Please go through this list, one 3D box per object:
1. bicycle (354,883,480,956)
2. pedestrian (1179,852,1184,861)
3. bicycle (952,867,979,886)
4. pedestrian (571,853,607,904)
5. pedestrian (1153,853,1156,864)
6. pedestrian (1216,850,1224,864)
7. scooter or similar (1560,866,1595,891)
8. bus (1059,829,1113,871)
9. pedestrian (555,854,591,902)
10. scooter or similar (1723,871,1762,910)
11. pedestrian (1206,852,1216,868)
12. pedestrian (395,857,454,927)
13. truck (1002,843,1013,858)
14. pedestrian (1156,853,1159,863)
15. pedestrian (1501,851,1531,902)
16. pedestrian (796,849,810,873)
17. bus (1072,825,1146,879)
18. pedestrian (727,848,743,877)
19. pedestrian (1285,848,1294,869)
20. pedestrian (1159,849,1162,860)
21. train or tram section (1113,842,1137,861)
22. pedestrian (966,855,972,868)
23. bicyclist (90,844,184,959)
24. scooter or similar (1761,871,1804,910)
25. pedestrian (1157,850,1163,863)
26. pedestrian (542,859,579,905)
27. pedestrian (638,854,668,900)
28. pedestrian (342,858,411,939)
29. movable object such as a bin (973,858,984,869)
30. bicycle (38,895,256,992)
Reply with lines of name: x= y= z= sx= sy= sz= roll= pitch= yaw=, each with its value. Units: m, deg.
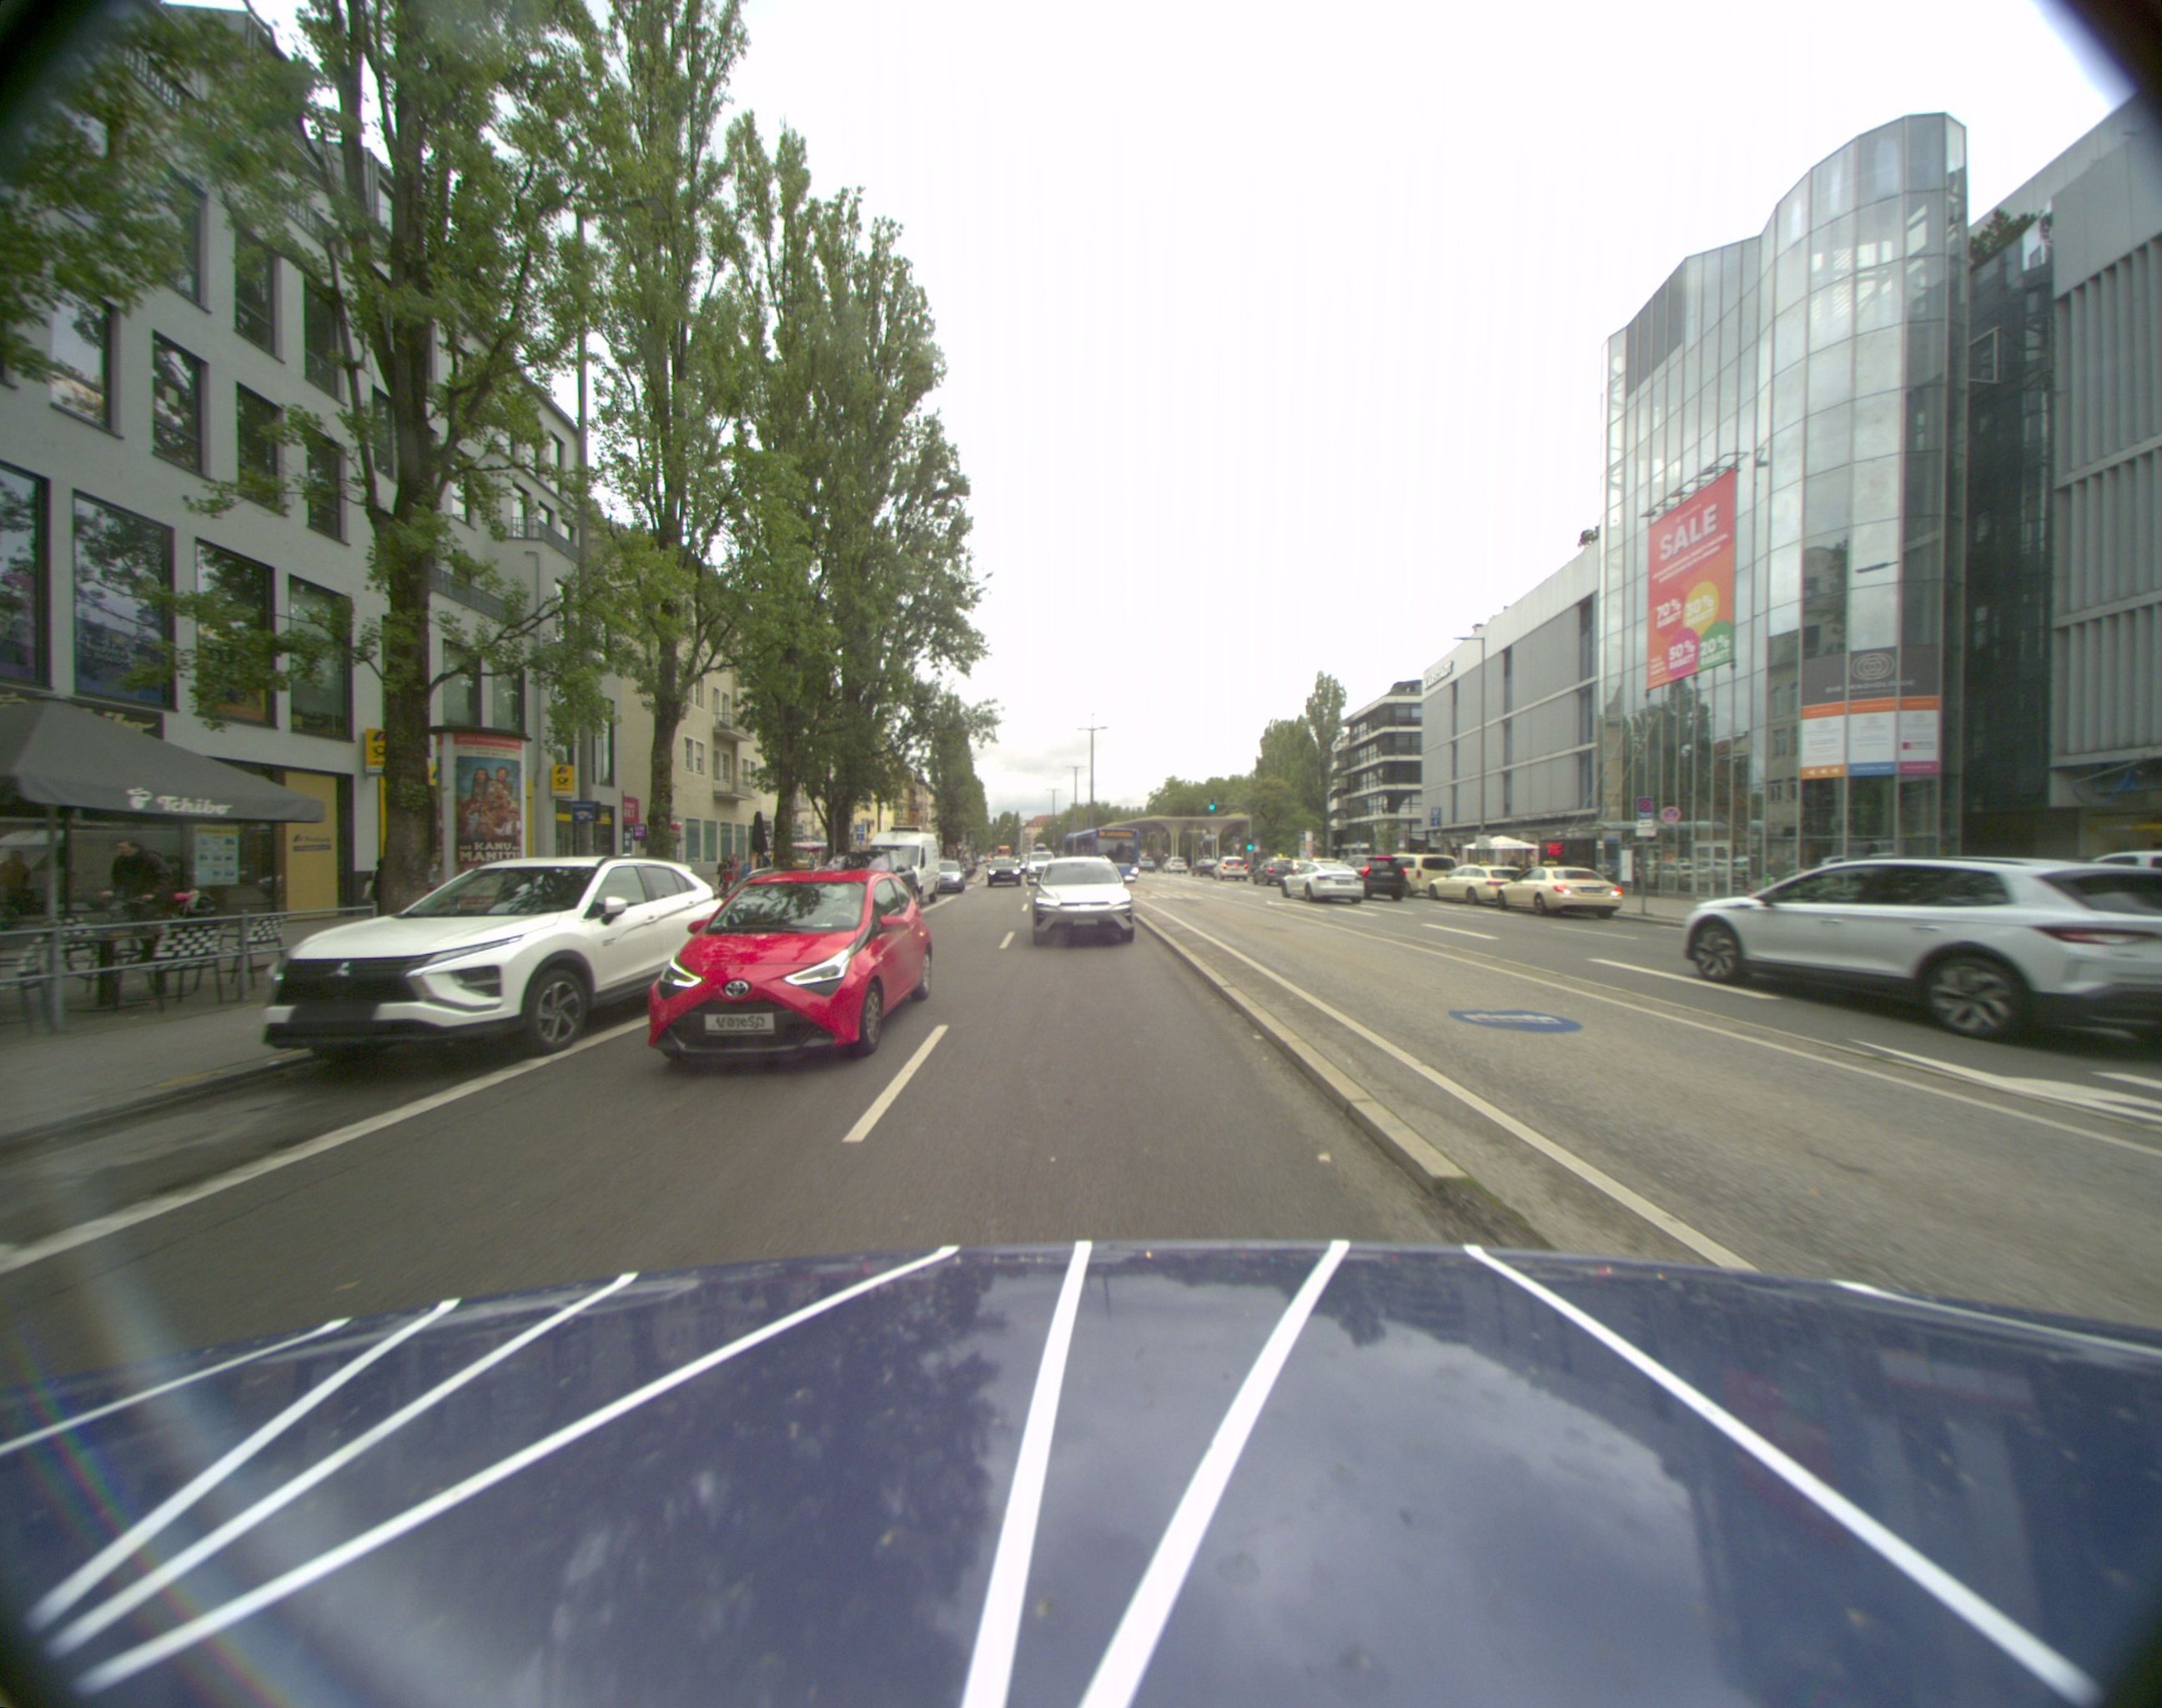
bicycle: x=-11.330 y=1.091 z=12.996 sx=1.511 sy=1.133 sz=0.895 roll=1 pitch=1 yaw=13
pedestrian: x=14.322 y=0.326 z=108.296 sx=0.549 sy=1.330 sz=0.591 roll=0 pitch=1 yaw=-6
bicycle: x=-6.863 y=1.335 z=45.067 sx=1.572 sy=1.048 sz=0.548 roll=-4 pitch=-1 yaw=33
pedestrian: x=-15.902 y=0.773 z=24.580 sx=0.693 sy=1.639 sz=0.798 roll=0 pitch=1 yaw=-5
pedestrian: x=10.614 y=0.669 z=109.684 sx=0.426 sy=1.493 sz=0.490 roll=1 pitch=1 yaw=21
pedestrian: x=18.216 y=0.417 z=99.601 sx=0.861 sy=1.767 sz=0.980 roll=0 pitch=1 yaw=-5
scooter or similar: x=23.124 y=1.141 z=35.408 sx=0.368 sy=1.133 sz=1.379 roll=0 pitch=0 yaw=-24
bus: x=0.203 y=-0.355 z=58.953 sx=2.943 sy=2.927 sz=11.205 roll=-1 pitch=1 yaw=-6
pedestrian: x=-16.843 y=0.786 z=25.204 sx=0.693 sy=1.576 sz=0.772 roll=0 pitch=1 yaw=-5
scooter or similar: x=21.238 y=1.156 z=24.409 sx=0.255 sy=1.217 sz=0.996 roll=0 pitch=1 yaw=-12
pedestrian: x=13.192 y=0.612 z=76.906 sx=0.640 sy=1.542 sz=0.759 roll=-2 pitch=2 yaw=-31
pedestrian: x=-14.944 y=0.859 z=17.311 sx=0.684 sy=1.549 sz=0.750 roll=0 pitch=1 yaw=-3
truck: x=-16.881 y=-0.829 z=174.383 sx=2.542 sy=3.468 sz=7.747 roll=0 pitch=0 yaw=-5
pedestrian: x=11.049 y=0.543 z=109.553 sx=0.320 sy=1.493 sz=0.317 roll=0 pitch=1 yaw=-15
pedestrian: x=16.444 y=0.843 z=28.723 sx=0.787 sy=1.856 sz=0.848 roll=2 pitch=2 yaw=19
pedestrian: x=-18.027 y=0.444 z=49.218 sx=0.678 sy=1.519 sz=0.729 roll=0 pitch=1 yaw=-4
bus: x=1.485 y=-0.206 z=47.164 sx=2.943 sy=2.927 sz=11.205 roll=-1 pitch=1 yaw=-6
pedestrian: x=-20.079 y=0.492 z=44.071 sx=0.602 sy=1.641 sz=0.765 roll=0 pitch=1 yaw=-3
pedestrian: x=16.620 y=0.355 z=60.552 sx=0.525 sy=1.719 sz=0.428 roll=-2 pitch=2 yaw=-6
pedestrian: x=11.480 y=0.048 z=109.445 sx=0.335 sy=1.493 sz=0.317 roll=0 pitch=1 yaw=-15
train or tram section: x=7.098 y=-0.337 z=123.488 sx=2.842 sy=2.983 sz=7.403 roll=0 pitch=0 yaw=-5
pedestrian: x=-15.343 y=0.992 z=104.232 sx=0.732 sy=1.792 sz=0.709 roll=0 pitch=2 yaw=-14
bicyclist: x=-12.059 y=0.590 z=9.715 sx=0.640 sy=1.440 sz=0.440 roll=0 pitch=1 yaw=1
scooter or similar: x=22.290 y=1.154 z=24.169 sx=0.255 sy=1.166 sz=0.996 roll=0 pitch=1 yaw=-19
pedestrian: x=10.960 y=0.324 z=105.248 sx=0.666 sy=1.840 sz=0.789 roll=0 pitch=1 yaw=14
pedestrian: x=-17.813 y=0.938 z=26.018 sx=0.766 sy=1.526 sz=0.709 roll=1 pitch=1 yaw=-2
pedestrian: x=-16.093 y=0.857 z=28.583 sx=0.719 sy=1.714 sz=0.741 roll=1 pitch=1 yaw=32
pedestrian: x=-13.973 y=0.865 z=15.089 sx=0.684 sy=1.549 sz=0.750 roll=0 pitch=1 yaw=-3
movable object such as a bin: x=-10.903 y=1.002 z=80.546 sx=1.090 sy=1.056 sz=0.747 roll=2 pitch=1 yaw=-8
bicycle: x=-12.112 y=1.114 z=9.960 sx=0.591 sy=1.057 sz=1.804 roll=0 pitch=0 yaw=1
